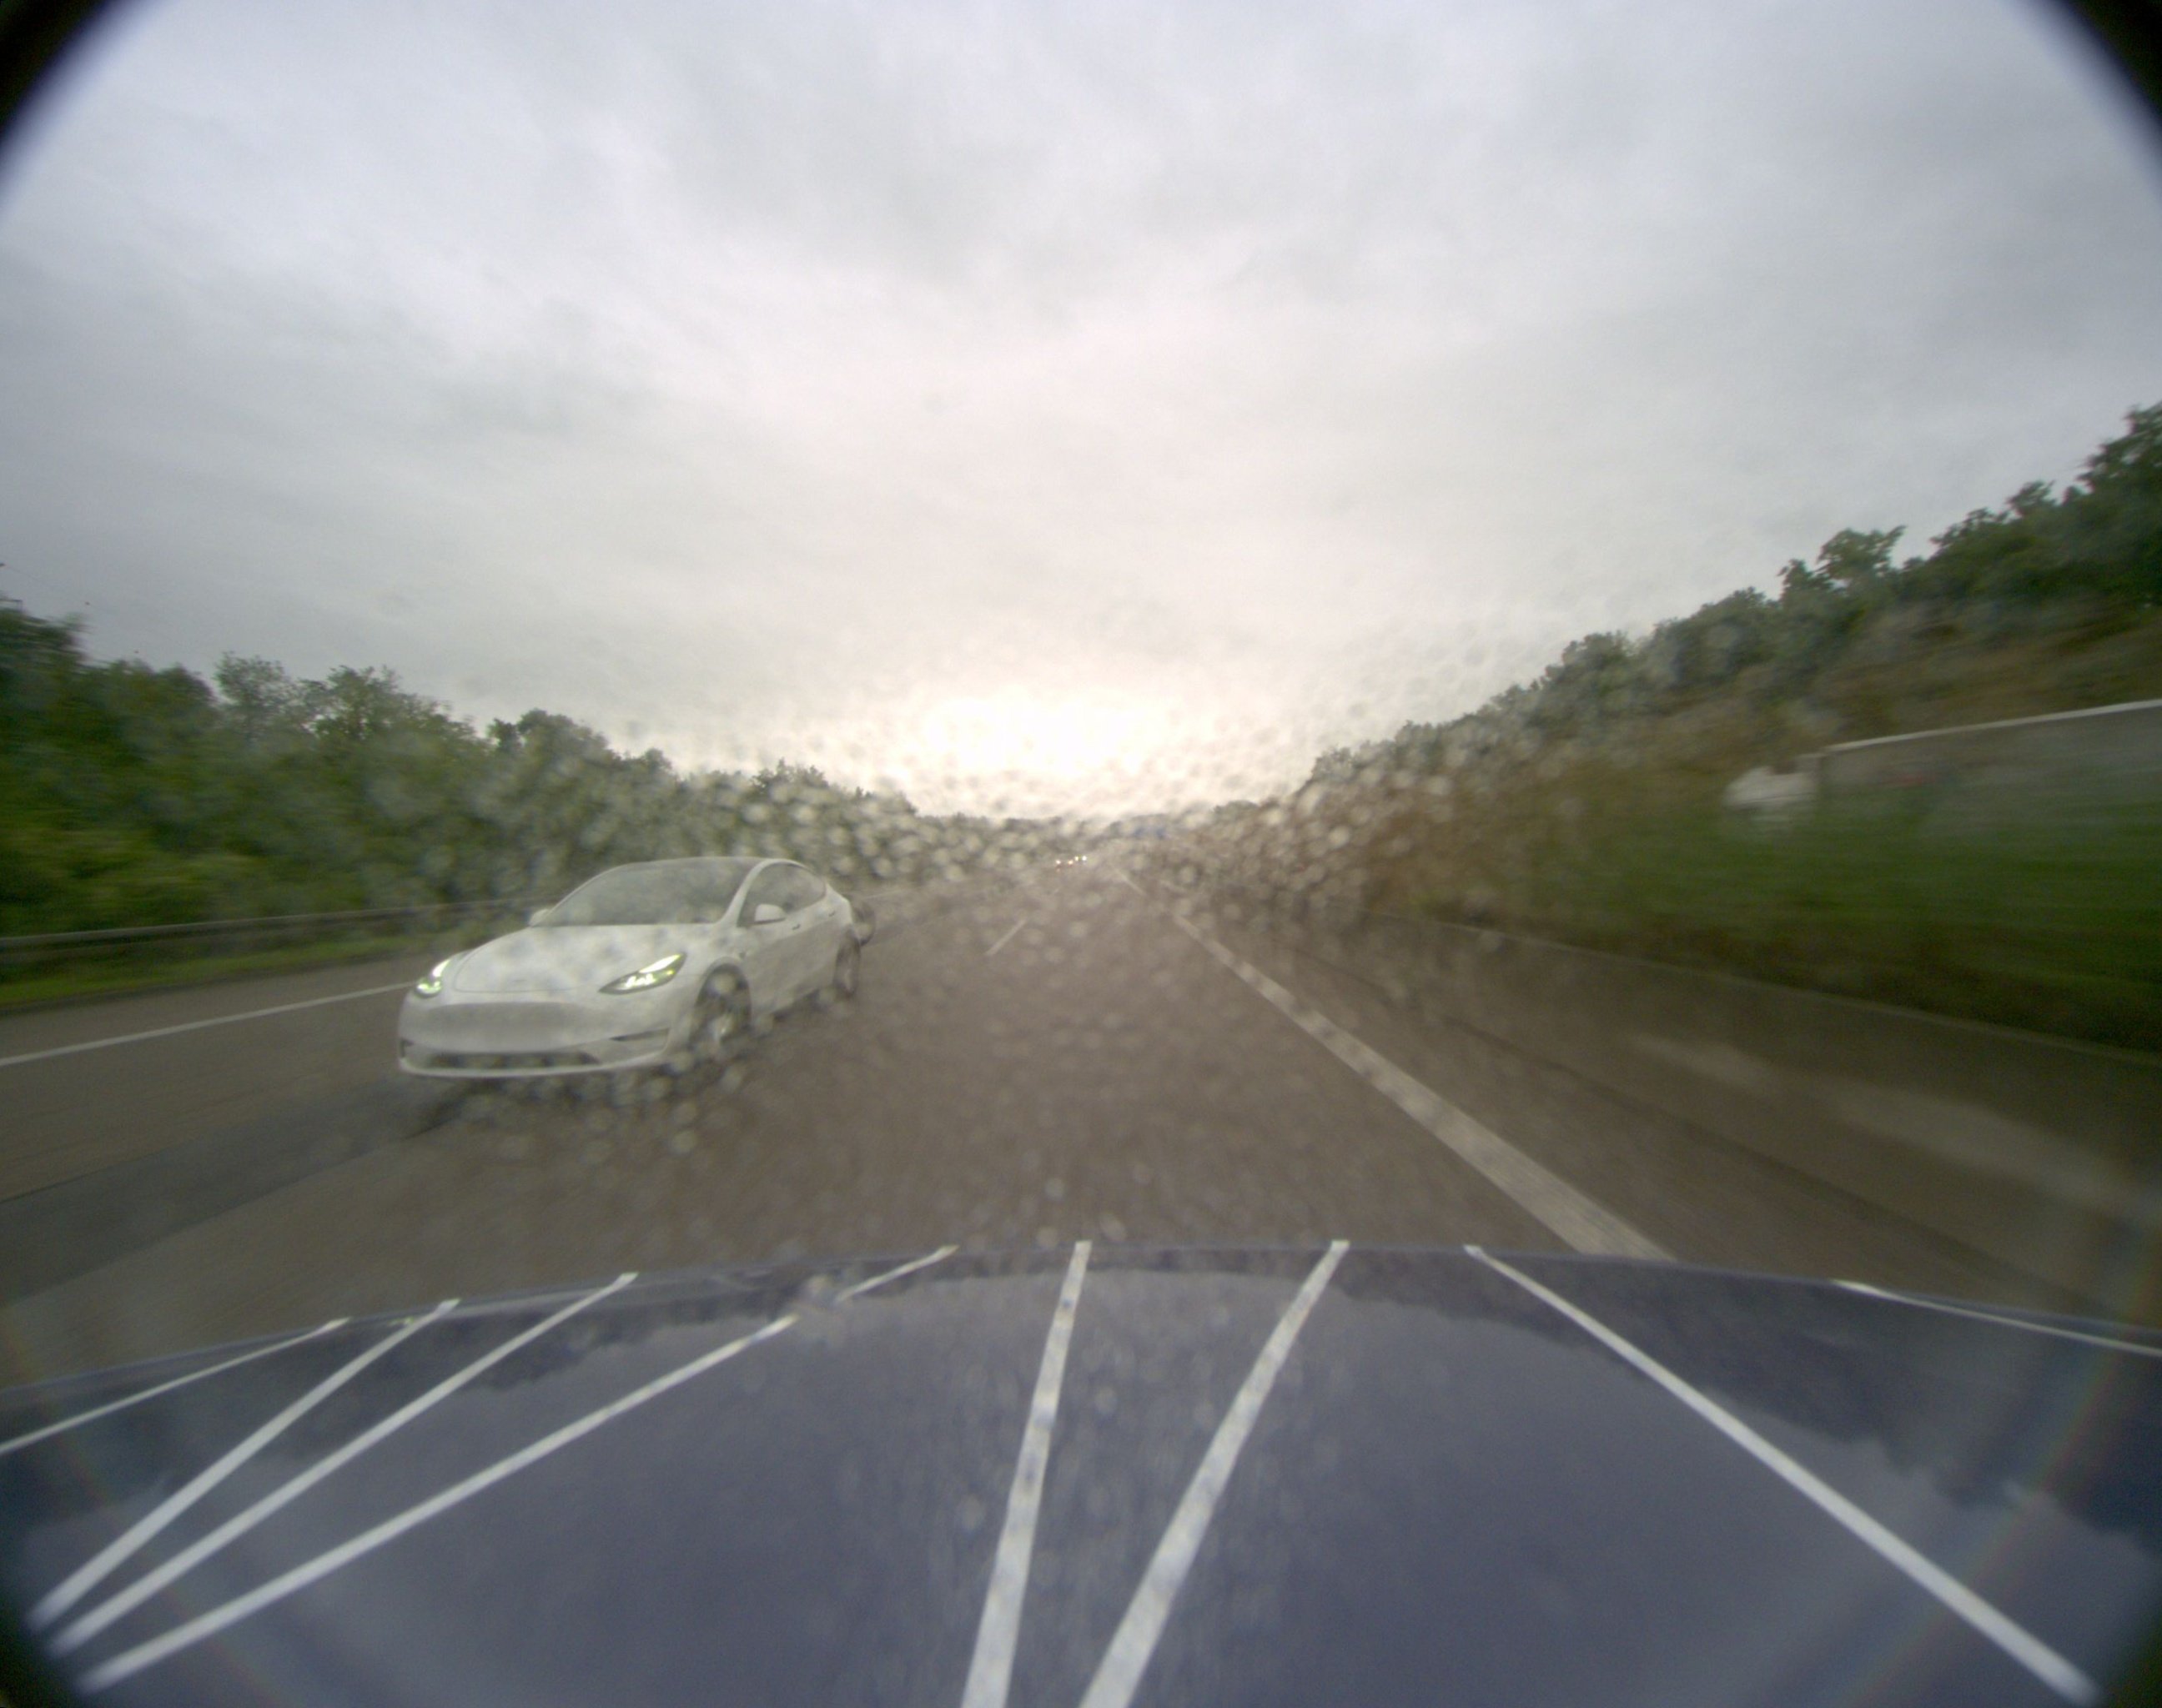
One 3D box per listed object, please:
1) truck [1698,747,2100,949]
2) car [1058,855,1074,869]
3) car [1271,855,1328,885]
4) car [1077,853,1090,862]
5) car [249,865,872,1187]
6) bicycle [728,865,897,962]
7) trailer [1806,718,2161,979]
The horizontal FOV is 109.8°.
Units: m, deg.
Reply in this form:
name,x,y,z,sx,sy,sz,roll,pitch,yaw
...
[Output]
name,x,y,z,sx,sy,sz,roll,pitch,yaw
truck,15.942,-0.109,15.403,2.999,3.447,4.770,0,1,1
car,-1.761,0.923,88.805,1.933,1.521,4.296,0,0,-1
car,9.759,0.669,34.139,1.610,1.230,3.479,-1,0,1
car,0.432,0.596,141.329,2.008,1.456,4.001,1,2,6
car,-3.460,0.961,6.543,1.865,1.559,4.963,-2,1,0
bicycle,-3.311,0.717,9.526,1.757,1.084,0.913,-1,2,0
trailer,15.832,-0.067,8.441,2.995,3.465,13.255,0,0,1
